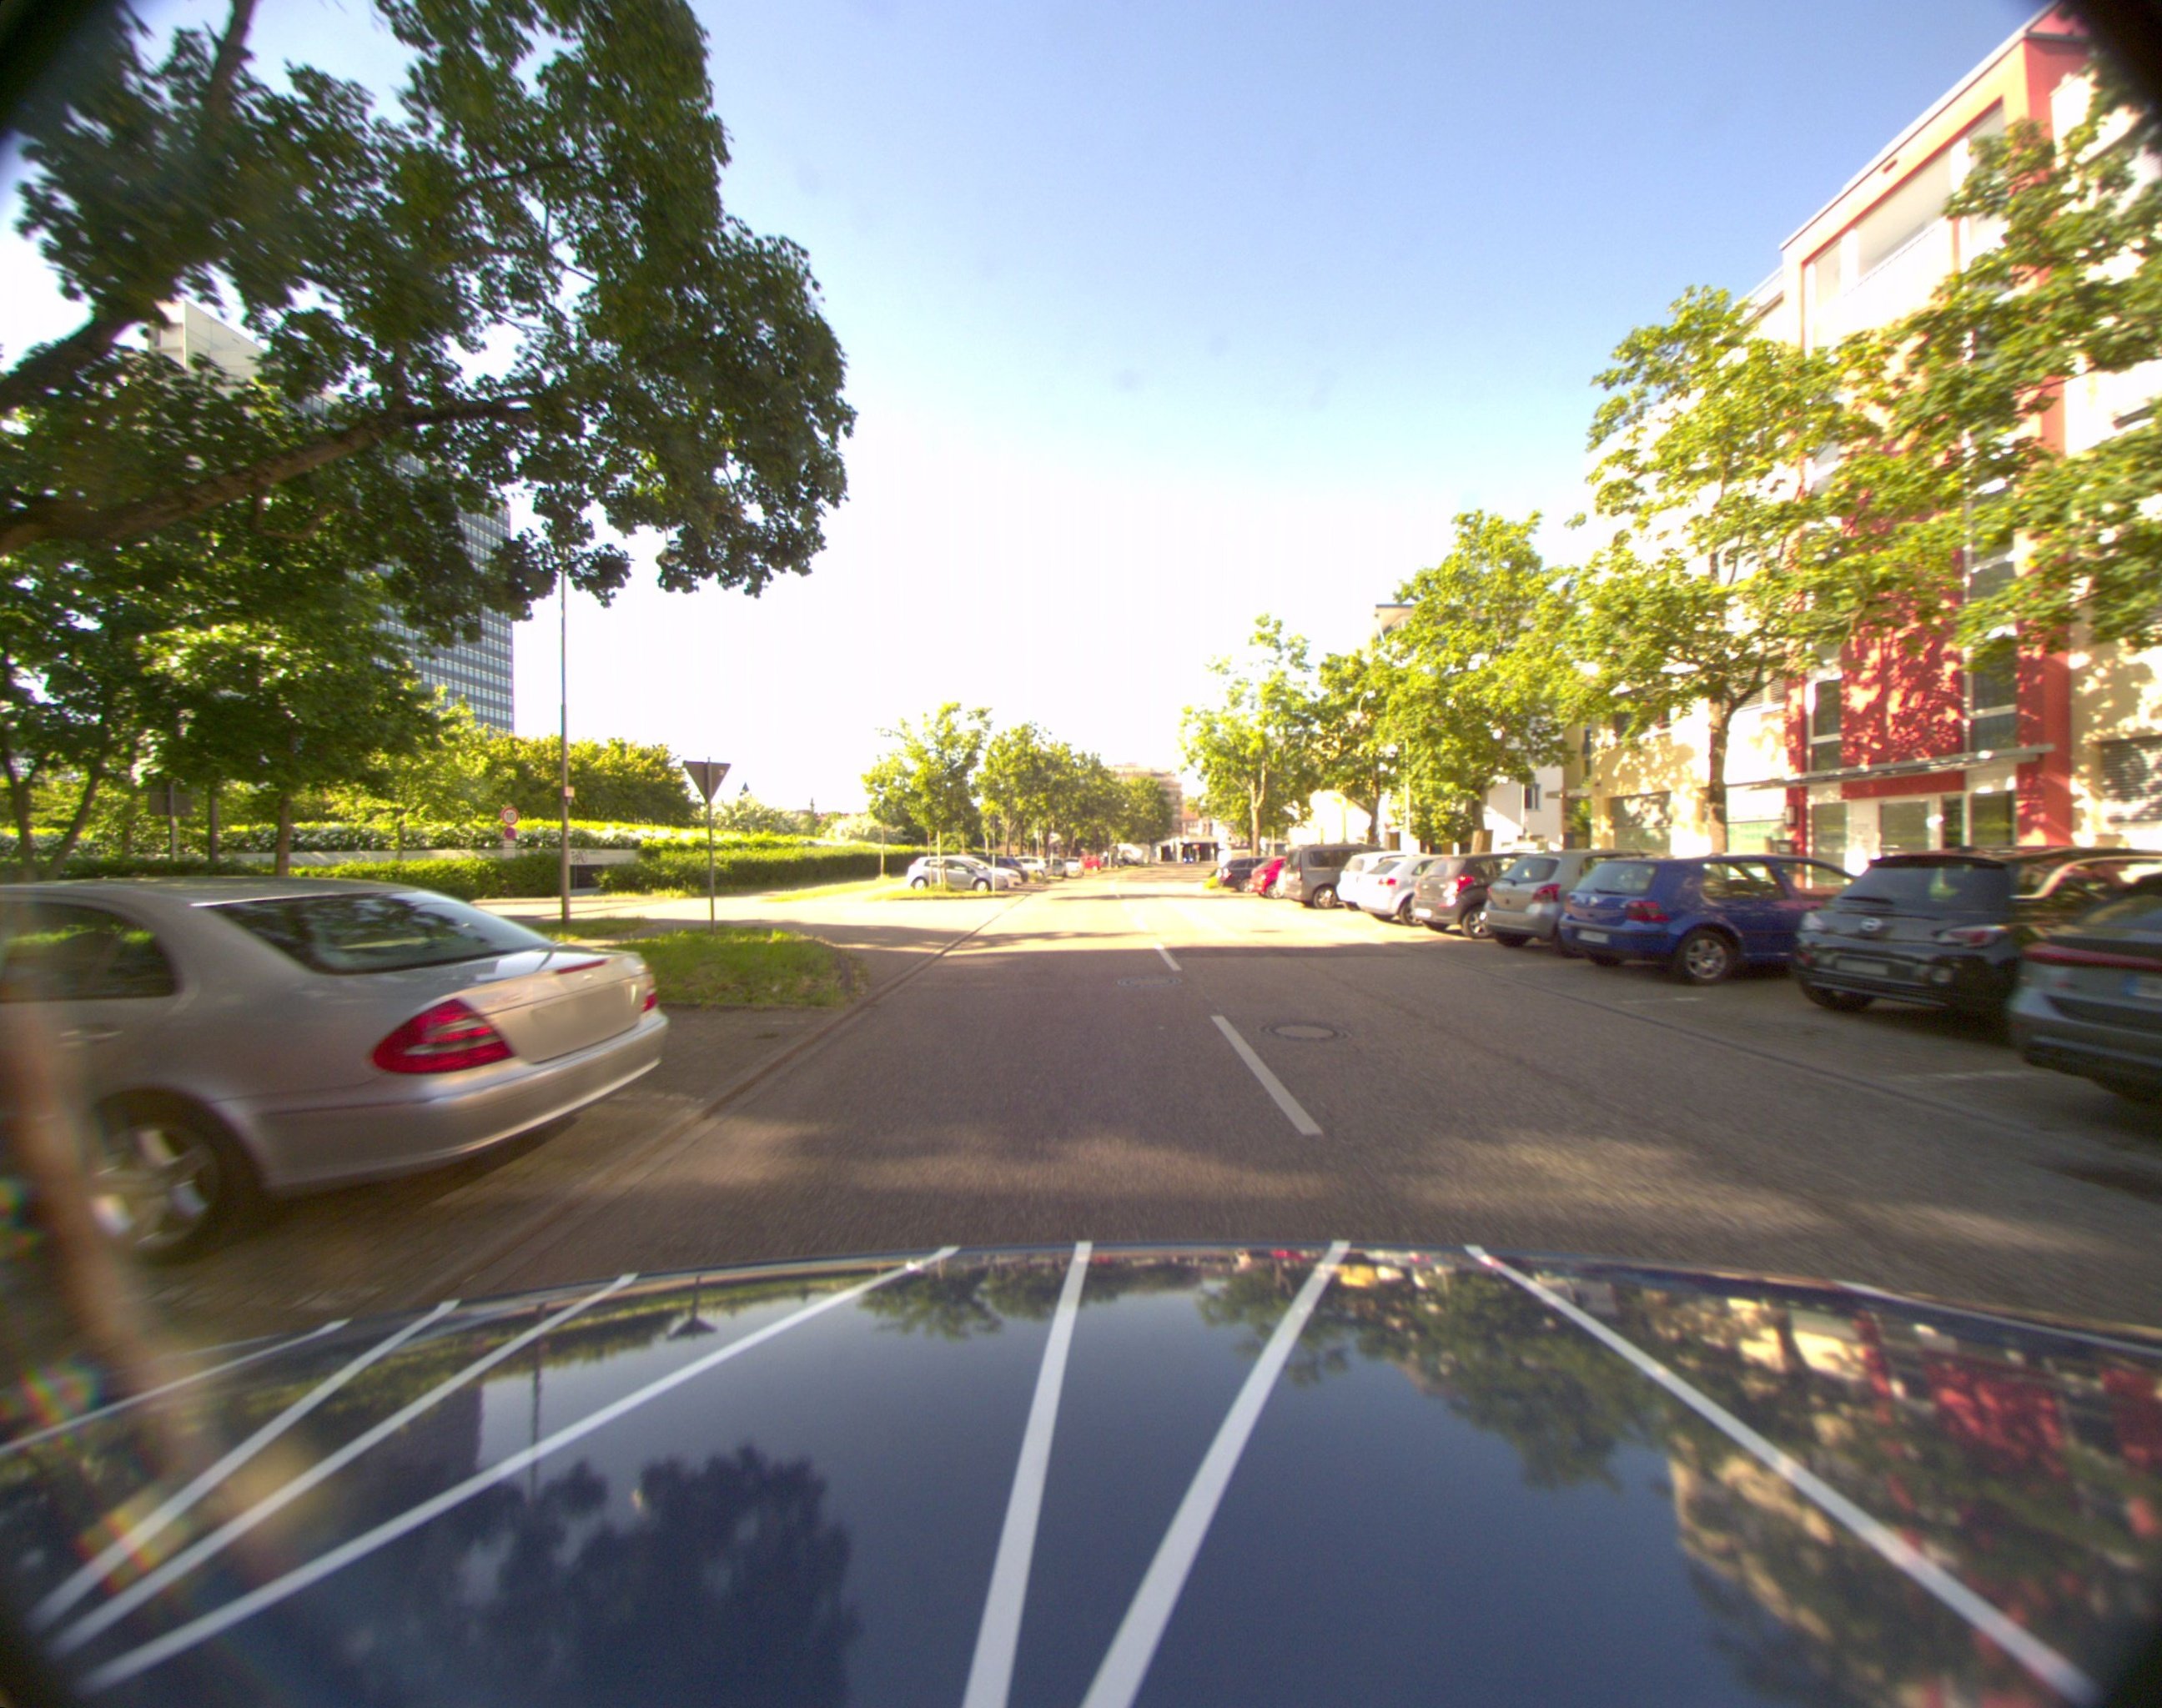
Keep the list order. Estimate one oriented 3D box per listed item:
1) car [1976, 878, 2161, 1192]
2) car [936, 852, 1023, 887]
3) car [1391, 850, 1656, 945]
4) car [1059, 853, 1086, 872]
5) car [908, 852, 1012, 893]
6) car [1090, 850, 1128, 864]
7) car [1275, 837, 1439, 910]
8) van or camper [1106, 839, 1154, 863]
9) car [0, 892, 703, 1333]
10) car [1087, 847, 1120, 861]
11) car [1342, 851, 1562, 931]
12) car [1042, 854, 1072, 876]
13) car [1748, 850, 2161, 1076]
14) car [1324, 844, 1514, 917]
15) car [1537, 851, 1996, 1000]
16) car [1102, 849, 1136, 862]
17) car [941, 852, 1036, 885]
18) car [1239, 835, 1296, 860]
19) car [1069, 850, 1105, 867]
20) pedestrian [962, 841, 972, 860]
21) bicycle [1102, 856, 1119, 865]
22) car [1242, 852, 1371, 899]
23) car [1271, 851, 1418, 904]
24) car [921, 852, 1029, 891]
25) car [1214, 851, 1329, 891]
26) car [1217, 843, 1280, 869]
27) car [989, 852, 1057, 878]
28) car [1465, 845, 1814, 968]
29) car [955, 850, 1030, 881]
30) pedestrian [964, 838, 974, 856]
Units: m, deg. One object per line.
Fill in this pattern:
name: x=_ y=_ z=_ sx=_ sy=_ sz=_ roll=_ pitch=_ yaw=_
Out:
car: x=7.296 y=0.797 z=3.455 sx=4.414 sy=1.419 sz=1.772 roll=-2 pitch=0 yaw=-1
car: x=-4.851 y=0.740 z=36.595 sx=3.885 sy=1.506 sz=1.750 roll=2 pitch=1 yaw=1
car: x=7.928 y=0.736 z=13.865 sx=3.736 sy=1.438 sz=1.859 roll=-2 pitch=0 yaw=-3
car: x=-0.704 y=0.680 z=64.477 sx=1.646 sy=1.485 sz=3.768 roll=2 pitch=1 yaw=8
car: x=-4.934 y=0.750 z=31.419 sx=3.957 sy=1.506 sz=1.701 roll=2 pitch=1 yaw=2
car: x=3.413 y=0.350 z=90.973 sx=4.199 sy=1.537 sz=1.861 roll=2 pitch=1 yaw=14
car: x=7.684 y=0.531 z=21.414 sx=3.901 sy=1.801 sz=1.786 roll=-2 pitch=0 yaw=1
van or camper: x=6.526 y=-0.391 z=101.287 sx=5.990 sy=2.967 sz=2.673 roll=2 pitch=1 yaw=12
car: x=-4.520 y=0.971 z=3.571 sx=4.589 sy=1.467 sz=1.747 roll=0 pitch=0 yaw=0
car: x=2.647 y=-0.014 z=88.353 sx=3.467 sy=1.471 sz=1.861 roll=2 pitch=1 yaw=12
car: x=7.784 y=0.745 z=16.187 sx=3.736 sy=1.438 sz=1.875 roll=-2 pitch=0 yaw=-3
car: x=-1.775 y=0.777 z=57.533 sx=1.813 sy=1.485 sz=4.625 roll=2 pitch=1 yaw=4
car: x=8.065 y=0.751 z=6.159 sx=3.736 sy=1.419 sz=1.772 roll=-2 pitch=0 yaw=0
car: x=8.327 y=0.633 z=18.988 sx=3.901 sy=1.565 sz=1.859 roll=-2 pitch=0 yaw=1
car: x=7.811 y=0.759 z=8.959 sx=3.736 sy=1.419 sz=1.840 roll=-2 pitch=0 yaw=0
car: x=4.992 y=0.219 z=98.636 sx=4.155 sy=1.537 sz=1.860 roll=2 pitch=1 yaw=11
car: x=-4.693 y=0.730 z=39.144 sx=4.560 sy=1.506 sz=2.158 roll=2 pitch=1 yaw=1
car: x=19.908 y=-0.684 z=81.073 sx=5.507 sy=2.422 sz=2.184 roll=-2 pitch=0 yaw=-14
car: x=0.626 y=0.476 z=79.052 sx=3.438 sy=1.535 sz=1.629 roll=3 pitch=1 yaw=14
pedestrian: x=-9.044 y=-0.276 z=60.129 sx=0.608 sy=1.533 sz=0.937 roll=0 pitch=1 yaw=1
bicycle: x=3.126 y=0.700 z=81.484 sx=1.752 sy=0.985 sz=0.531 roll=1 pitch=1 yaw=25
car: x=7.686 y=0.711 z=26.164 sx=3.901 sy=1.415 sz=1.739 roll=-2 pitch=0 yaw=1
car: x=8.101 y=0.712 z=23.603 sx=3.901 sy=1.415 sz=1.739 roll=-2 pitch=0 yaw=1
car: x=-4.675 y=0.763 z=34.027 sx=4.561 sy=1.506 sz=1.982 roll=2 pitch=1 yaw=-1
car: x=7.698 y=0.682 z=30.985 sx=4.272 sy=1.415 sz=1.740 roll=-2 pitch=0 yaw=4
car: x=13.938 y=0.175 z=63.356 sx=4.776 sy=1.973 sz=1.996 roll=-2 pitch=0 yaw=-22
car: x=-3.740 y=0.713 z=49.584 sx=4.096 sy=1.421 sz=1.643 roll=3 pitch=1 yaw=7
car: x=8.019 y=0.704 z=11.193 sx=3.736 sy=1.500 sz=1.859 roll=-2 pitch=0 yaw=0
car: x=-4.841 y=0.621 z=41.876 sx=3.814 sy=1.440 sz=1.745 roll=3 pitch=1 yaw=3
pedestrian: x=-9.935 y=-0.591 z=67.427 sx=0.725 sy=1.579 sz=0.853 roll=0 pitch=1 yaw=3
